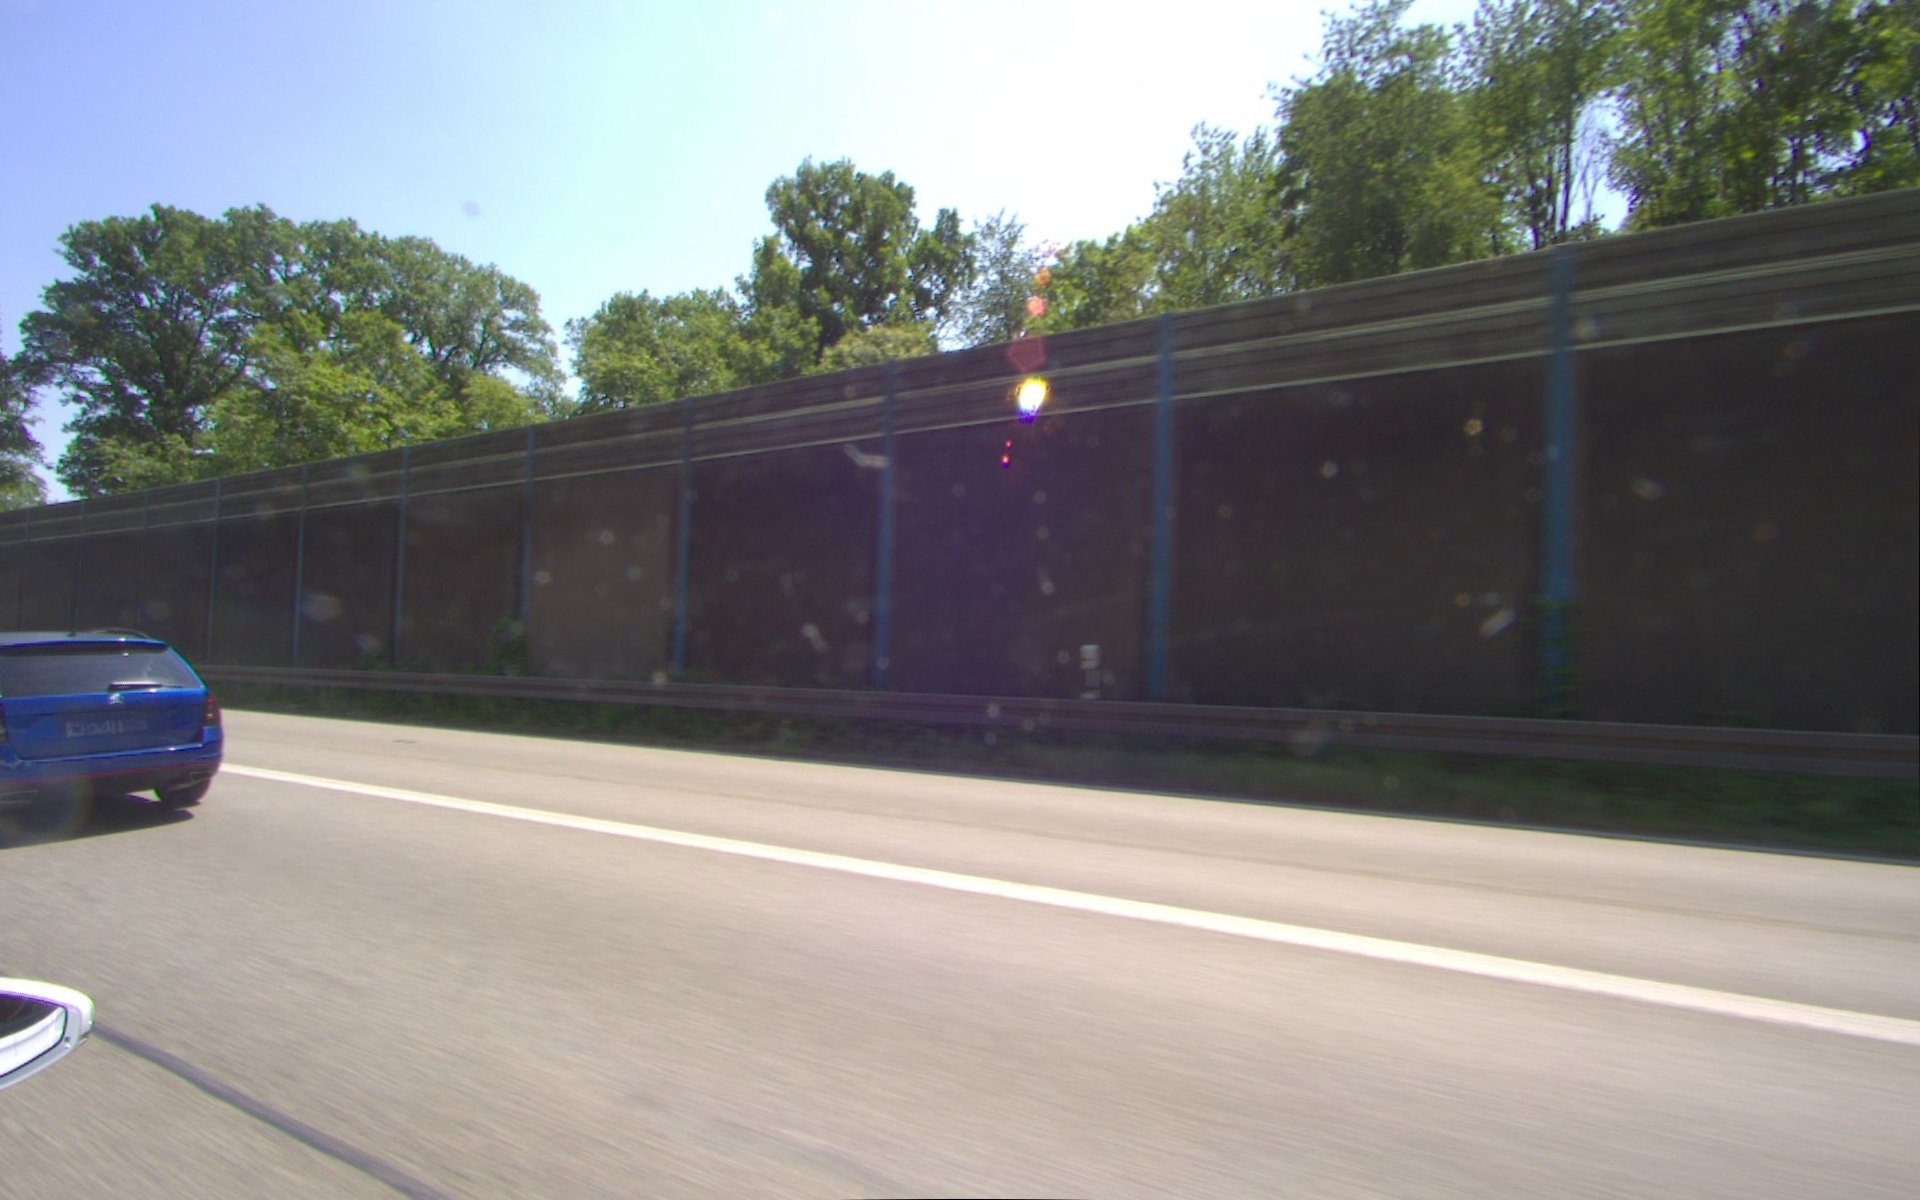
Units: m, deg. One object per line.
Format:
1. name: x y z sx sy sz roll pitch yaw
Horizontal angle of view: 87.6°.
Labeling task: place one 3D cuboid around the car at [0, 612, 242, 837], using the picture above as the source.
1. car: -8.017 0.925 8.401 4.417 1.501 1.648 -2 -2 31
